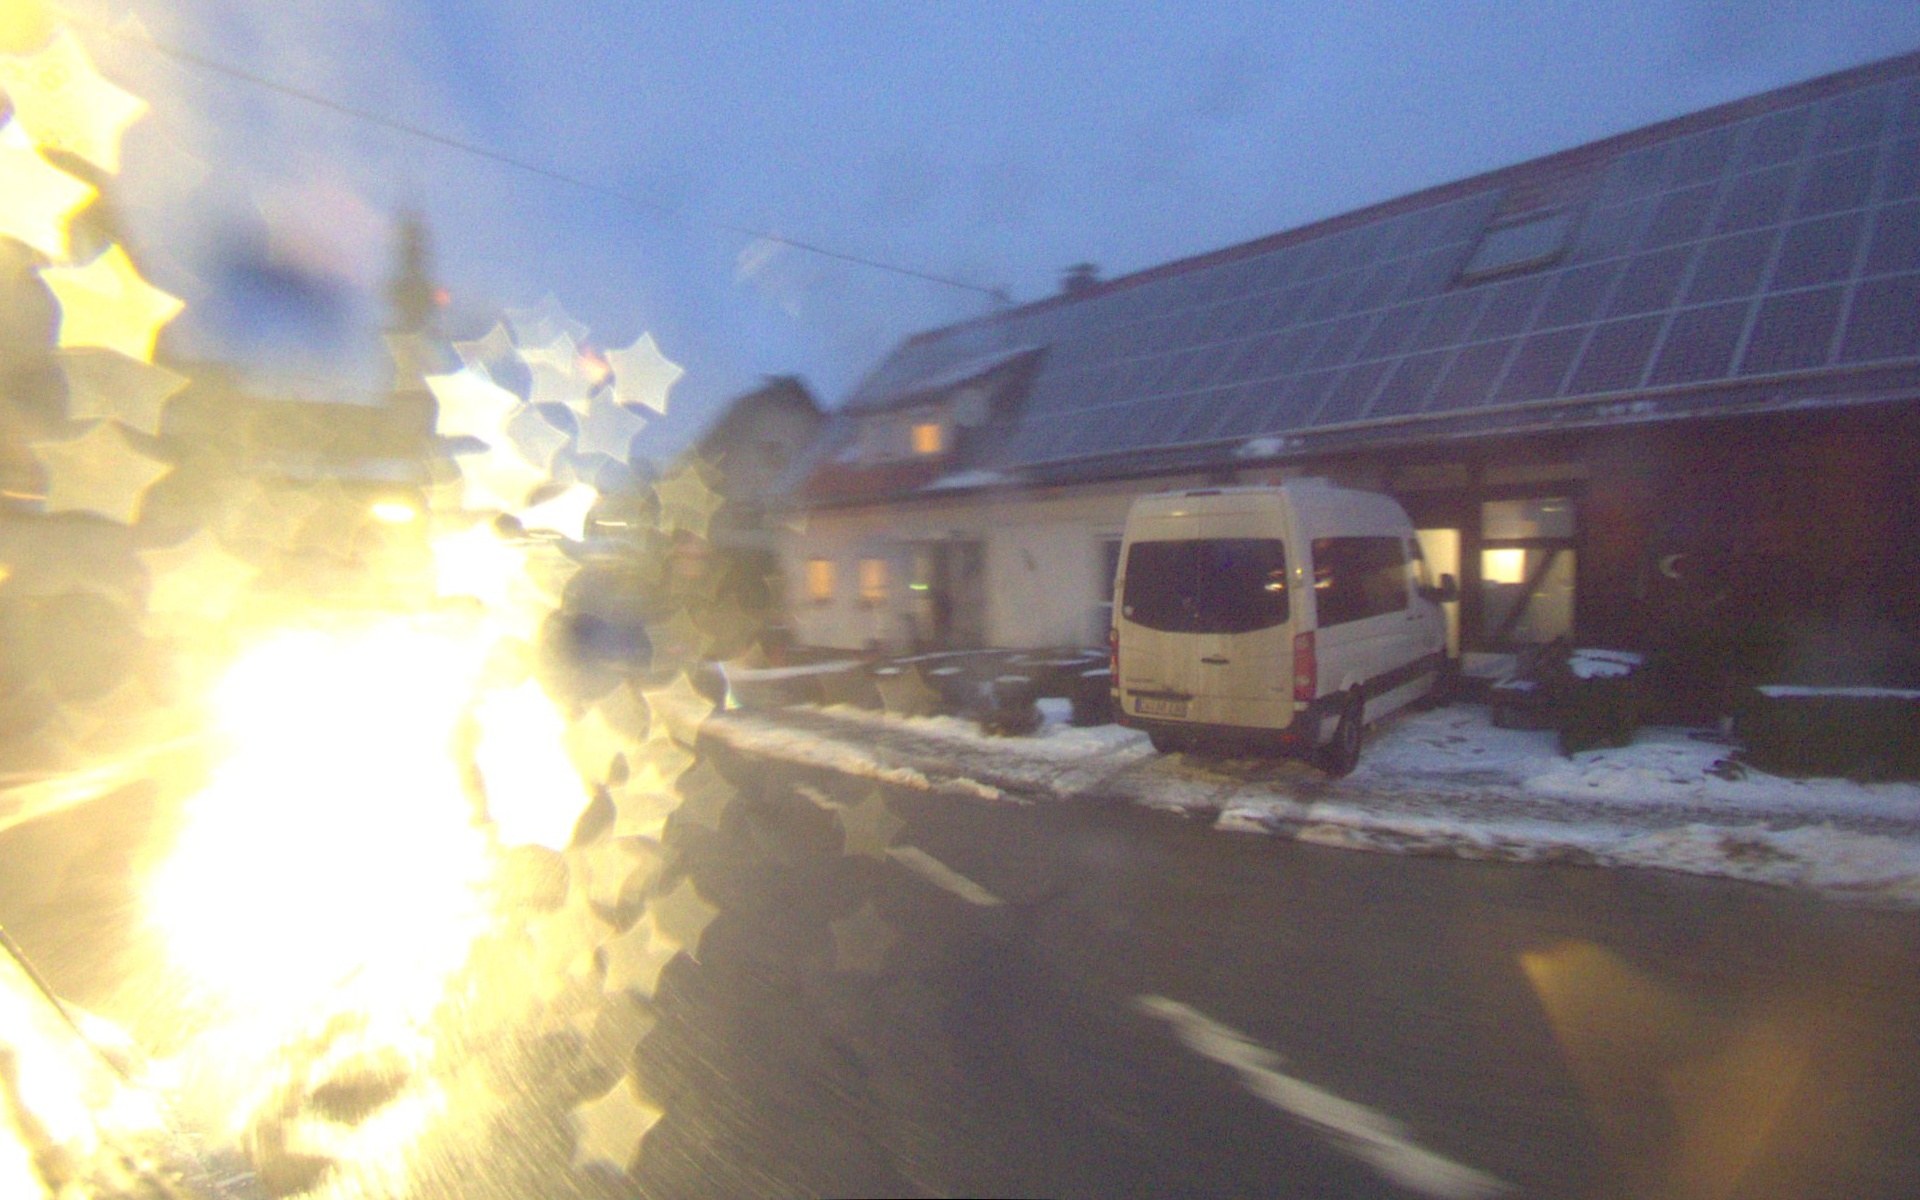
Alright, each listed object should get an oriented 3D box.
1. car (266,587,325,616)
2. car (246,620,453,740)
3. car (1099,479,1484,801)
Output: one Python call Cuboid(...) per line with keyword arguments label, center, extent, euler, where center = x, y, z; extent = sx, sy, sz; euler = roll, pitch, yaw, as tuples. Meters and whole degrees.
Cuboid(label="car", center=(-36.733, 0.060, 55.928), extent=(4.080, 1.423, 1.732), euler=(4, 3, 41))
Cuboid(label="car", center=(-8.686, 1.028, 14.857), extent=(1.965, 1.392, 4.950), euler=(1, -1, -24))
Cuboid(label="car", center=(3.954, 0.124, 11.037), extent=(1.998, 2.572, 6.038), euler=(1, 4, 39))
